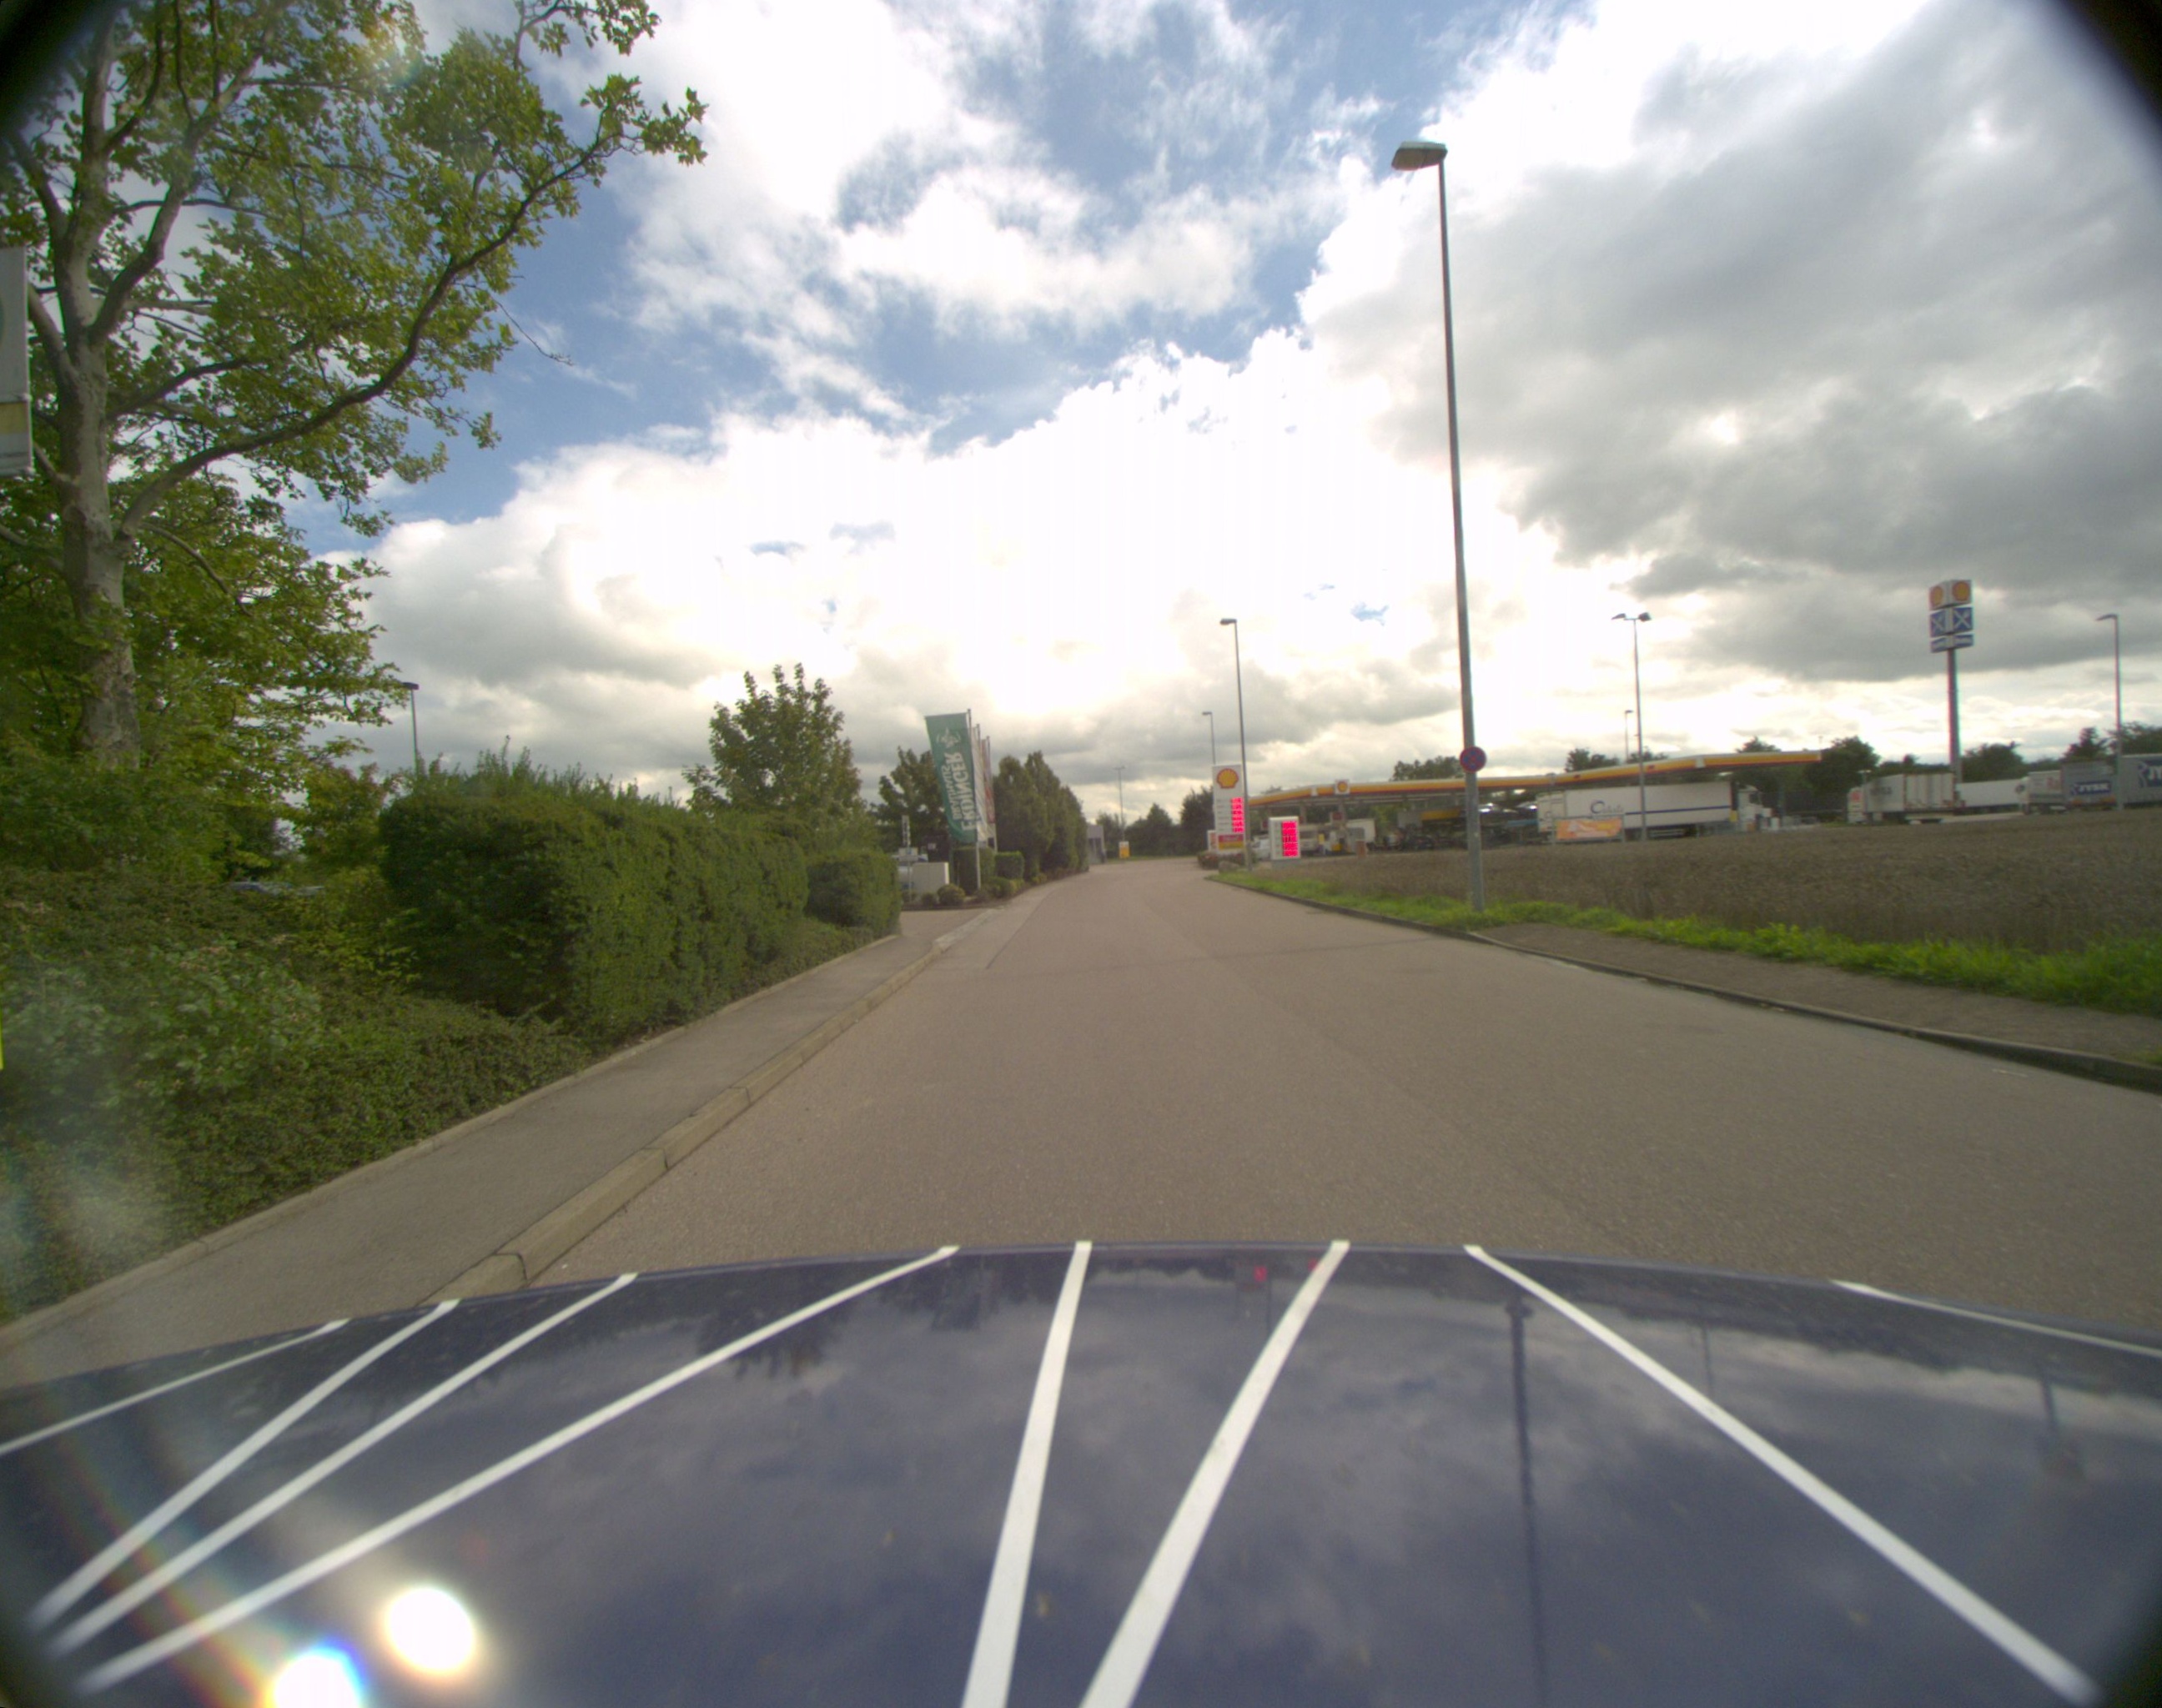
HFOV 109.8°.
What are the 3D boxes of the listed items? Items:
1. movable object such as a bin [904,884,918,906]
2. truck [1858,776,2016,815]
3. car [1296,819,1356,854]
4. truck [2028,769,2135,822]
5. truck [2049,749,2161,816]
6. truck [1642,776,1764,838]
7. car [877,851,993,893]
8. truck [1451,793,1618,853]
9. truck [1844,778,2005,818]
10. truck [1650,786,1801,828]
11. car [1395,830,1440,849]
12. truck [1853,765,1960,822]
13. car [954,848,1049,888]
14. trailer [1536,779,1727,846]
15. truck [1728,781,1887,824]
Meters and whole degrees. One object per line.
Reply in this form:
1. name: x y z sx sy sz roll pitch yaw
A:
1. movable object such as a bin: -5.536 1.325 24.762 0.288 0.680 0.368 -3 1 12
2. truck: 107.036 -7.262 95.442 12.775 3.871 2.829 -2 2 35
3. car: 21.621 -1.598 66.908 5.819 2.770 2.219 -4 1 -42
4. truck: 88.092 -5.104 67.195 2.986 4.087 11.594 -3 1 39
5. truck: 71.245 -4.842 49.361 15.459 3.871 2.822 -3 2 -7
6. truck: 45.156 -3.371 55.220 7.169 4.001 2.710 -3 1 -10
7. car: -6.557 0.805 34.256 4.672 1.687 1.920 -2 1 11
8. truck: 34.807 -2.387 58.185 13.266 3.901 2.748 -4 2 -18
9. truck: 102.112 -6.699 92.463 12.775 3.871 2.829 -2 2 35
10. truck: 73.008 -5.255 86.613 12.775 3.871 2.829 -2 2 35
11. car: 30.488 -1.289 69.005 1.717 1.592 3.757 -4 0 -14
12. truck: 68.633 -4.911 63.635 2.955 4.089 14.773 -2 2 35
13. car: -3.948 0.694 38.004 4.358 1.706 1.658 -3 0 8
14. trailer: 39.227 -2.930 54.158 12.848 4.001 2.710 -3 1 -10
15. truck: 83.214 -5.810 87.574 12.978 3.871 2.829 -2 2 36
